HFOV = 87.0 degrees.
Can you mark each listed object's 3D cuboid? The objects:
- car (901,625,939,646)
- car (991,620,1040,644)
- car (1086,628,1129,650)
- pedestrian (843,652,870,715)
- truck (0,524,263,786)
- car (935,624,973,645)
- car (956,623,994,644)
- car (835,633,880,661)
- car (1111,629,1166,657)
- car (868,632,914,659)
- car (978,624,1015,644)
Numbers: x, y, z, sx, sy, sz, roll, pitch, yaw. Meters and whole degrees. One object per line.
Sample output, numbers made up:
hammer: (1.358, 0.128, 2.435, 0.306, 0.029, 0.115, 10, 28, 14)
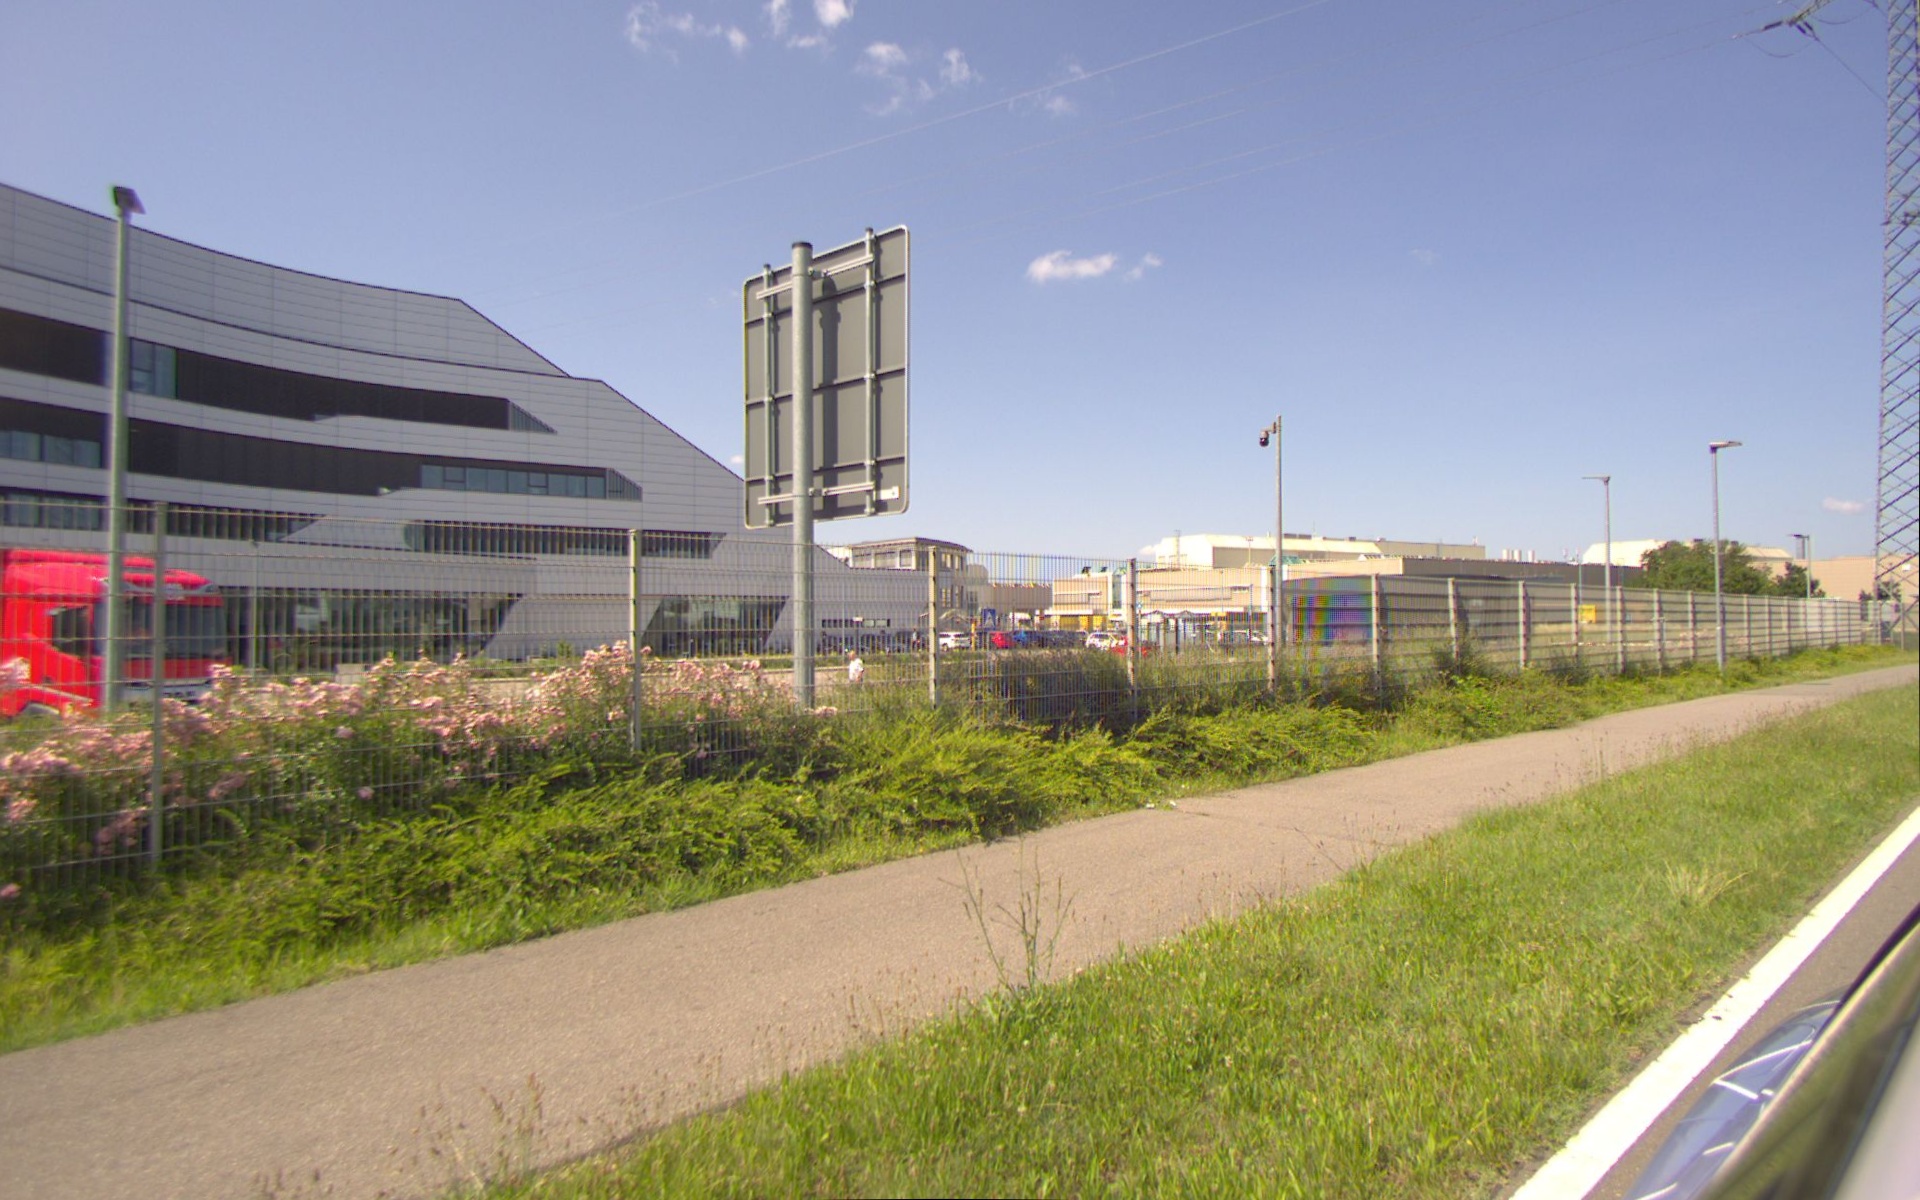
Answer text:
car: (-3.025, 2.646, 76.492, 1.443, 1.554, 3.057, 0, -1, -34)
car: (4.747, 2.779, 87.692, 1.960, 2.040, 4.756, 0, -2, -30)
car: (10.688, 2.796, 73.470, 1.443, 1.554, 3.057, 0, -1, -34)
pedestrian: (-2.829, 2.266, 27.702, 0.563, 1.674, 0.484, 0, -2, -36)
truck: (-19.042, 0.883, 19.761, 10.825, 4.310, 3.012, 0, 0, 18)
car: (-0.478, 2.627, 77.735, 1.443, 1.554, 3.057, 0, -1, -34)
car: (1.168, 2.622, 79.651, 1.443, 1.554, 3.057, 0, -1, -34)
car: (-6.164, 2.812, 60.725, 1.443, 1.554, 3.057, 0, -1, -34)
car: (10.633, 2.536, 60.392, 1.427, 1.554, 3.152, 0, -1, -35)
car: (-4.258, 2.792, 62.249, 1.443, 1.554, 3.057, 0, -1, -34)
car: (2.908, 2.758, 81.414, 1.443, 1.554, 3.057, 0, -1, -34)
